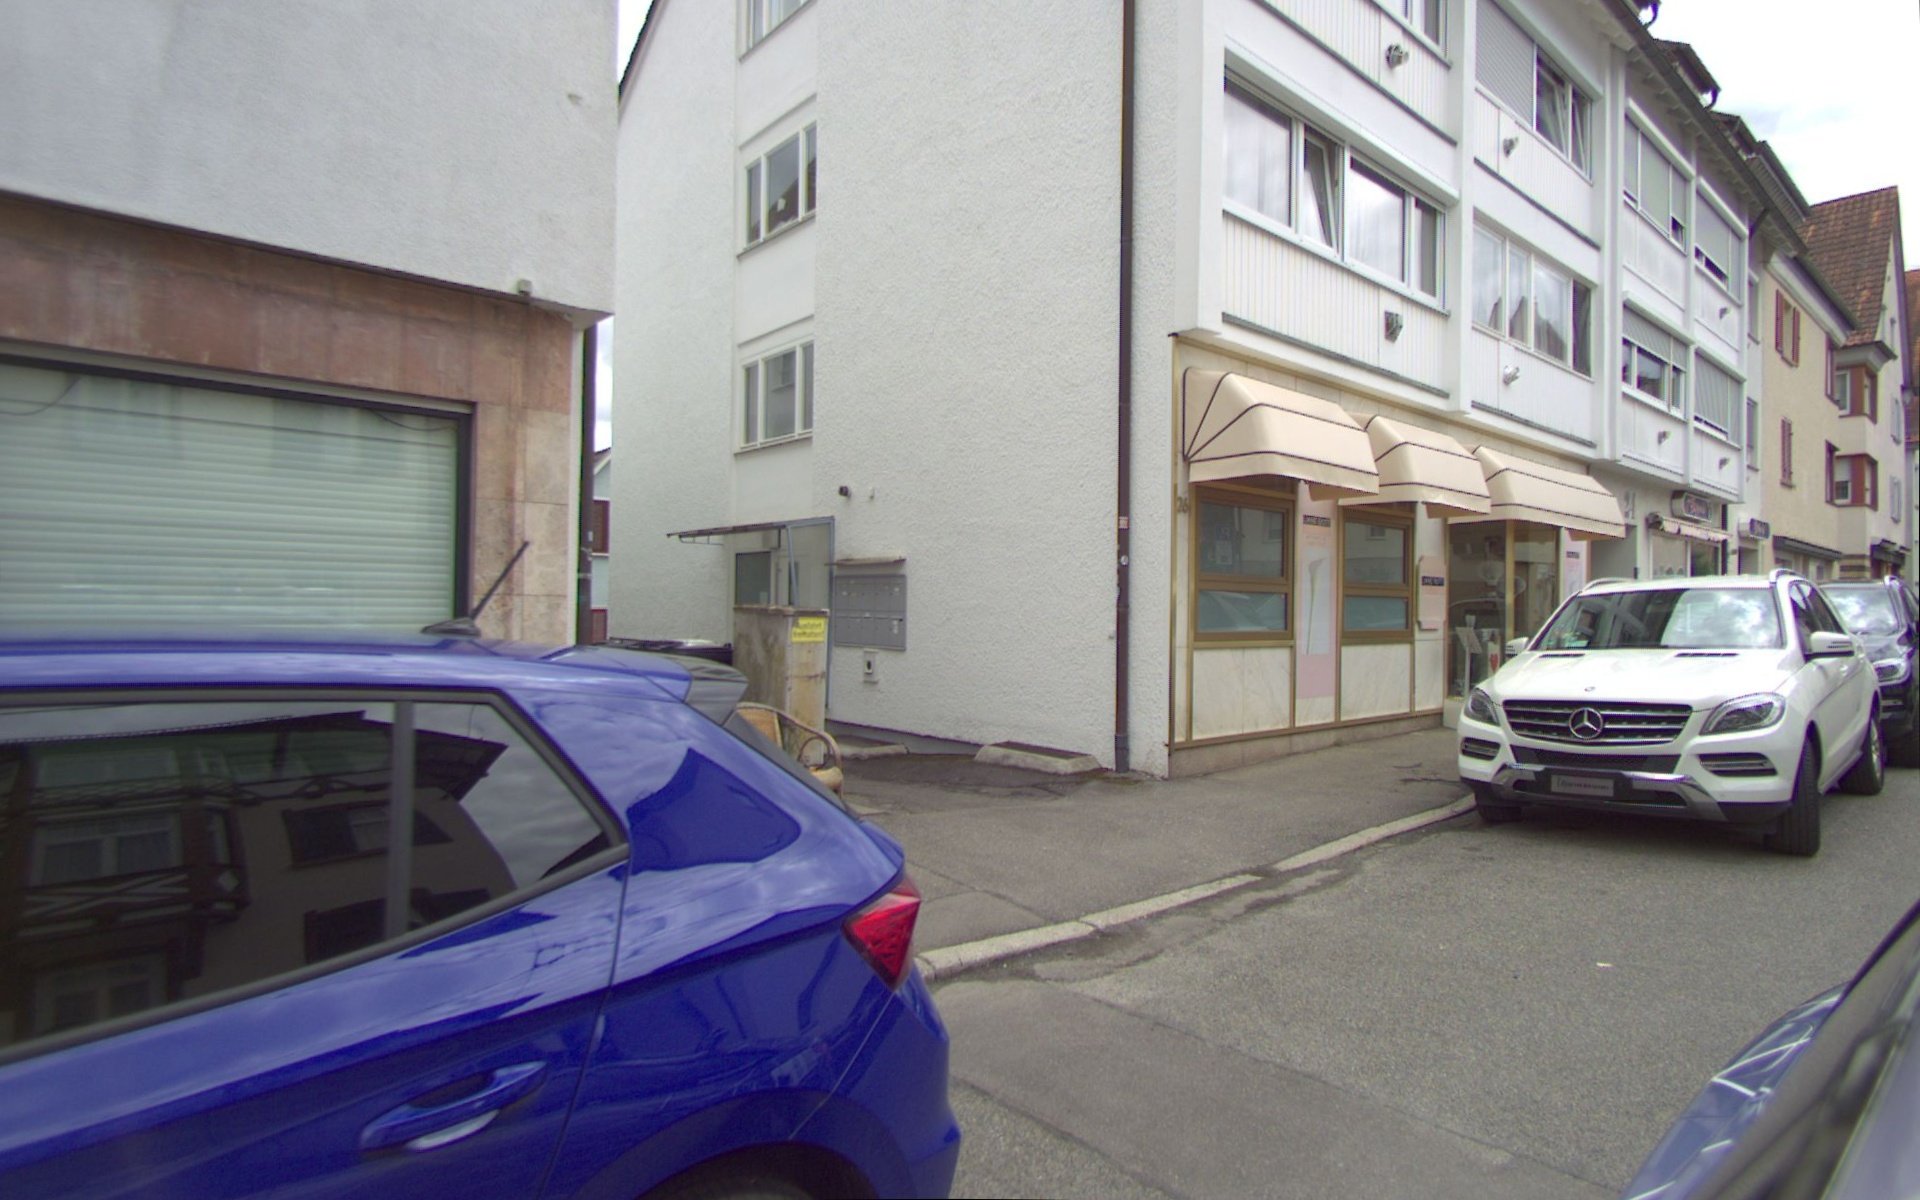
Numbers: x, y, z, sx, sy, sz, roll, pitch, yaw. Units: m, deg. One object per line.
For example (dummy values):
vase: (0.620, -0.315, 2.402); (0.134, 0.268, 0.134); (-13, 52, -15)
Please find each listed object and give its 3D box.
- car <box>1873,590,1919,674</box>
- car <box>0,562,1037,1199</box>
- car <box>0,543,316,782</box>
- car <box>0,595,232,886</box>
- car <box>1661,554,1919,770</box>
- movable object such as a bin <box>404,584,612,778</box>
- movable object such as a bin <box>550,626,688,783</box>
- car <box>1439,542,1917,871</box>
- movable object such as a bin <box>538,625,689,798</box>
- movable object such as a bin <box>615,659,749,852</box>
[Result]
car: (19.482, 0.554, 19.913); (3.918, 1.548, 1.672); (-1, -2, -40)
car: (-1.892, 0.717, 1.167); (3.860, 1.450, 1.754); (-1, -1, -41)
car: (-7.363, 0.458, 7.736); (3.941, 1.687, 1.646); (-1, -1, -40)
car: (-6.140, 0.742, 5.117); (3.939, 1.450, 1.647); (-1, -1, -38)
car: (9.078, 0.498, 10.559); (4.269, 1.812, 1.898); (-1, 0, -41)
movable object such as a bin: (-3.644, 0.664, 8.161); (1.267, 1.405, 1.060); (-5, -9, 45)
movable object such as a bin: (-2.620, 0.805, 7.811); (0.515, 1.128, 0.804); (-5, -9, 44)
car: (5.488, 0.532, 7.497); (4.416, 1.727, 1.898); (-1, 0, -41)
movable object such as a bin: (-2.434, 0.782, 7.139); (0.515, 1.128, 0.804); (-5, -9, 44)
movable object such as a bin: (-1.559, 0.835, 5.663); (0.512, 0.941, 0.570); (1, 2, -40)
